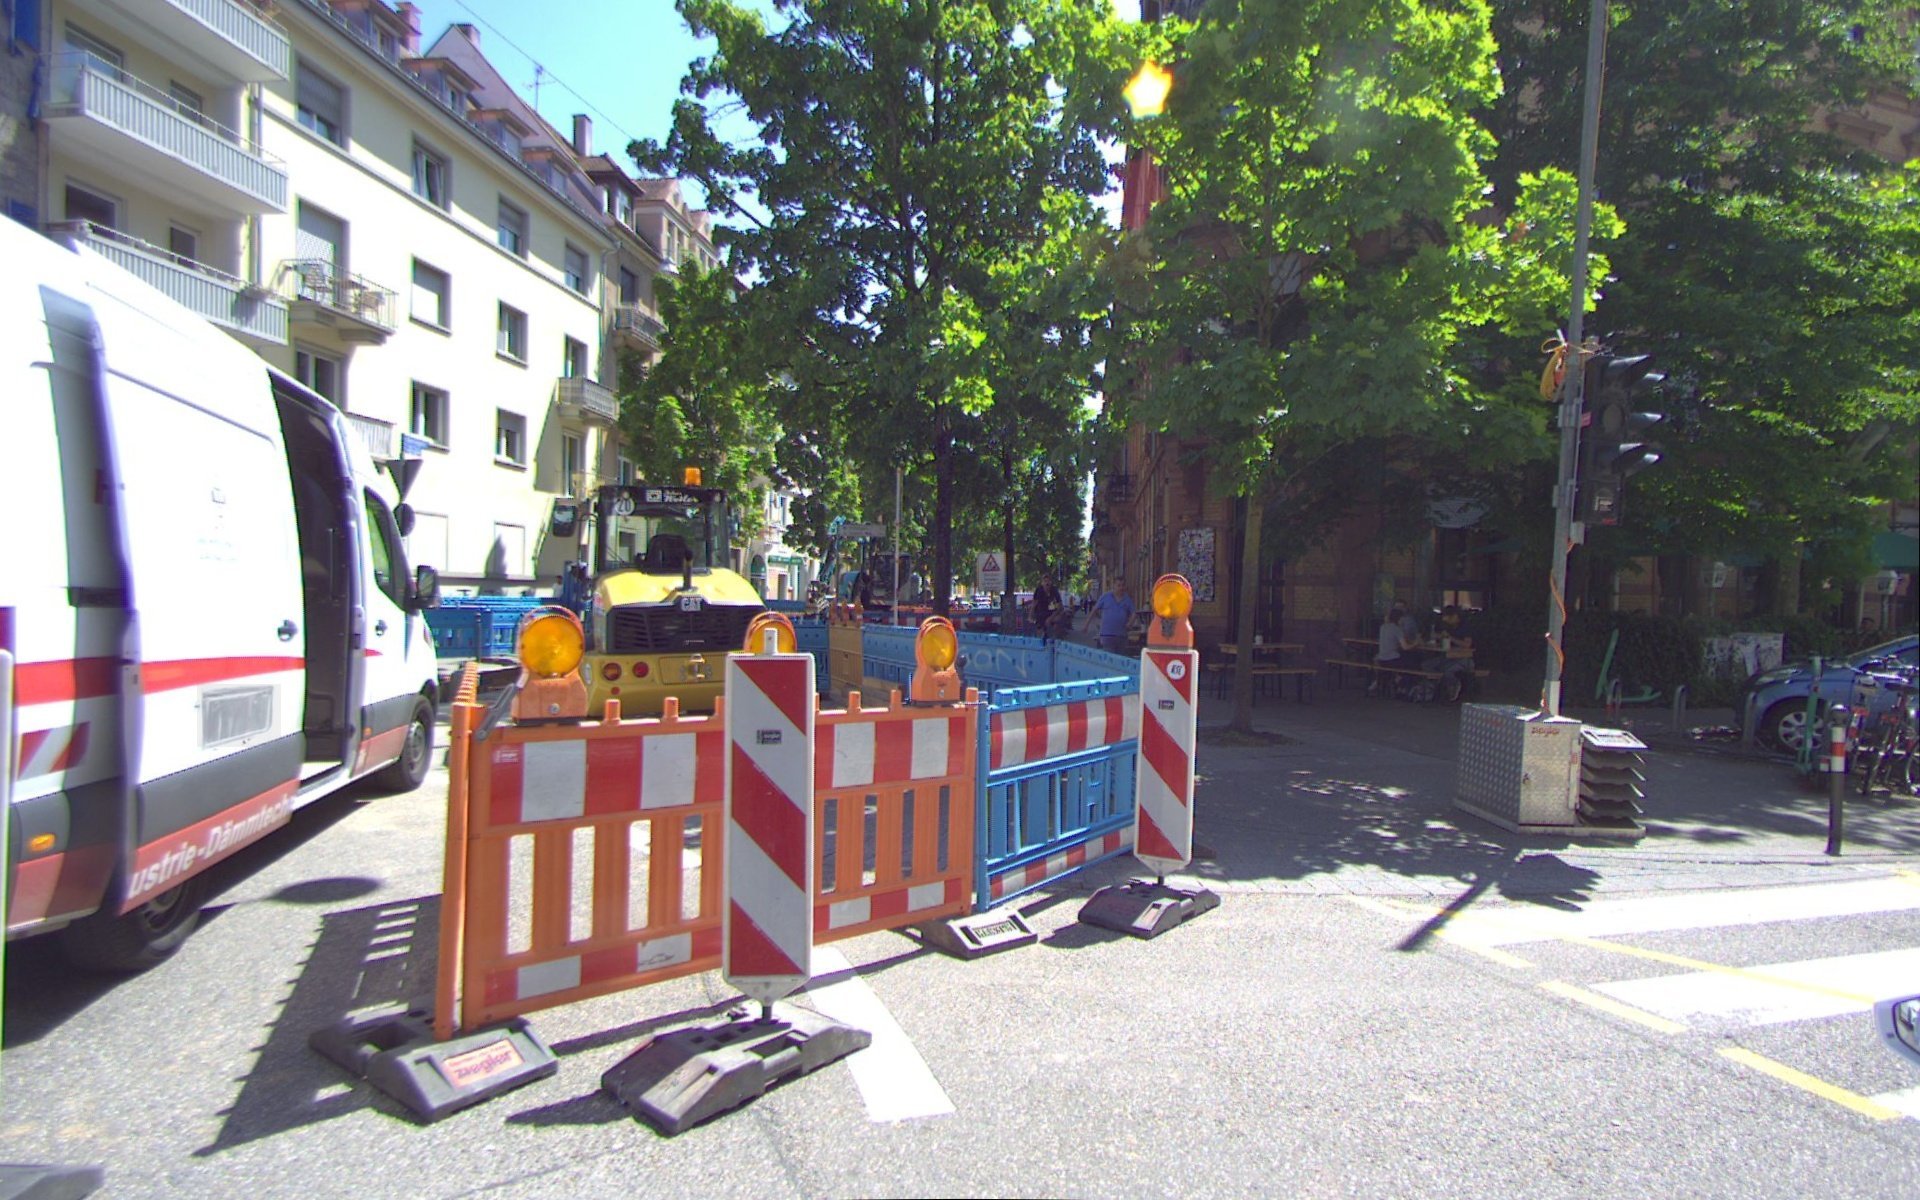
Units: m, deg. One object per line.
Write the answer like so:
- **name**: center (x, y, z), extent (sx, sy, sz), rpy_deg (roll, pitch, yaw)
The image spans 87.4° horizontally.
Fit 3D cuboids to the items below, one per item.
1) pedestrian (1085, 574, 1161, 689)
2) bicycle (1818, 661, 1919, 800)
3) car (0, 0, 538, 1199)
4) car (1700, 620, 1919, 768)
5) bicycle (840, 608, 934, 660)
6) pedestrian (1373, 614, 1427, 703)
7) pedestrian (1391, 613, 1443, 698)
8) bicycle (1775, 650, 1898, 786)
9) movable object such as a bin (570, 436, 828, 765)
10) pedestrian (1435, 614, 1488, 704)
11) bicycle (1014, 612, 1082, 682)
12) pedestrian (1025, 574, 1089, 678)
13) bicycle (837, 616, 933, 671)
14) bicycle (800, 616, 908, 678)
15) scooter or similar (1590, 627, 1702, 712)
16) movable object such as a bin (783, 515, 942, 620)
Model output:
- **pedestrian**: center (2.519, 0.479, 15.570), extent (0.917, 1.727, 0.636), rpy_deg (1, 2, -21)
- **bicycle**: center (8.569, 1.145, 9.175), extent (1.876, 1.096, 0.488), rpy_deg (1, 2, -31)
- **car**: center (-3.902, -0.106, 4.846), extent (2.339, 2.788, 6.625), rpy_deg (2, 0, -14)
- **car**: center (10.695, 1.039, 10.961), extent (3.945, 1.394, 1.988), rpy_deg (4, 3, 44)
- **bicycle**: center (-1.405, 0.655, 19.520), extent (1.777, 0.947, 0.491), rpy_deg (2, 1, -2)
- **pedestrian**: center (6.315, 0.823, 14.411), extent (0.549, 1.236, 0.596), rpy_deg (2, 1, 39)
- **pedestrian**: center (6.879, 0.821, 15.118), extent (0.549, 1.236, 0.596), rpy_deg (2, 1, 39)
- **bicycle**: center (8.292, 1.076, 9.485), extent (1.601, 1.172, 0.336), rpy_deg (1, 2, -31)
- **movable object such as a bin**: center (-2.995, 0.032, 10.692), extent (1.928, 2.694, 4.531), rpy_deg (1, -1, -24)
- **pedestrian**: center (7.190, 0.832, 14.395), extent (0.549, 1.236, 0.596), rpy_deg (2, 1, 39)
- **bicycle**: center (1.559, 0.821, 18.262), extent (0.591, 1.101, 2.283), rpy_deg (1, 2, -11)
- **pedestrian**: center (1.741, 0.451, 18.142), extent (0.849, 1.814, 1.006), rpy_deg (1, 2, -10)
- **bicycle**: center (-1.400, 0.810, 18.898), extent (1.777, 1.002, 0.491), rpy_deg (0, 1, -2)
- **bicycle**: center (-1.795, 0.796, 17.120), extent (1.777, 0.976, 0.491), rpy_deg (2, 1, -2)
- **scooter or similar**: center (9.585, 0.972, 14.048), extent (1.443, 1.136, 0.278), rpy_deg (1, 3, -9)
- **movable object such as a bin**: center (-3.201, -1.070, 35.127), extent (3.249, 3.255, 6.750), rpy_deg (2, 1, 16)
